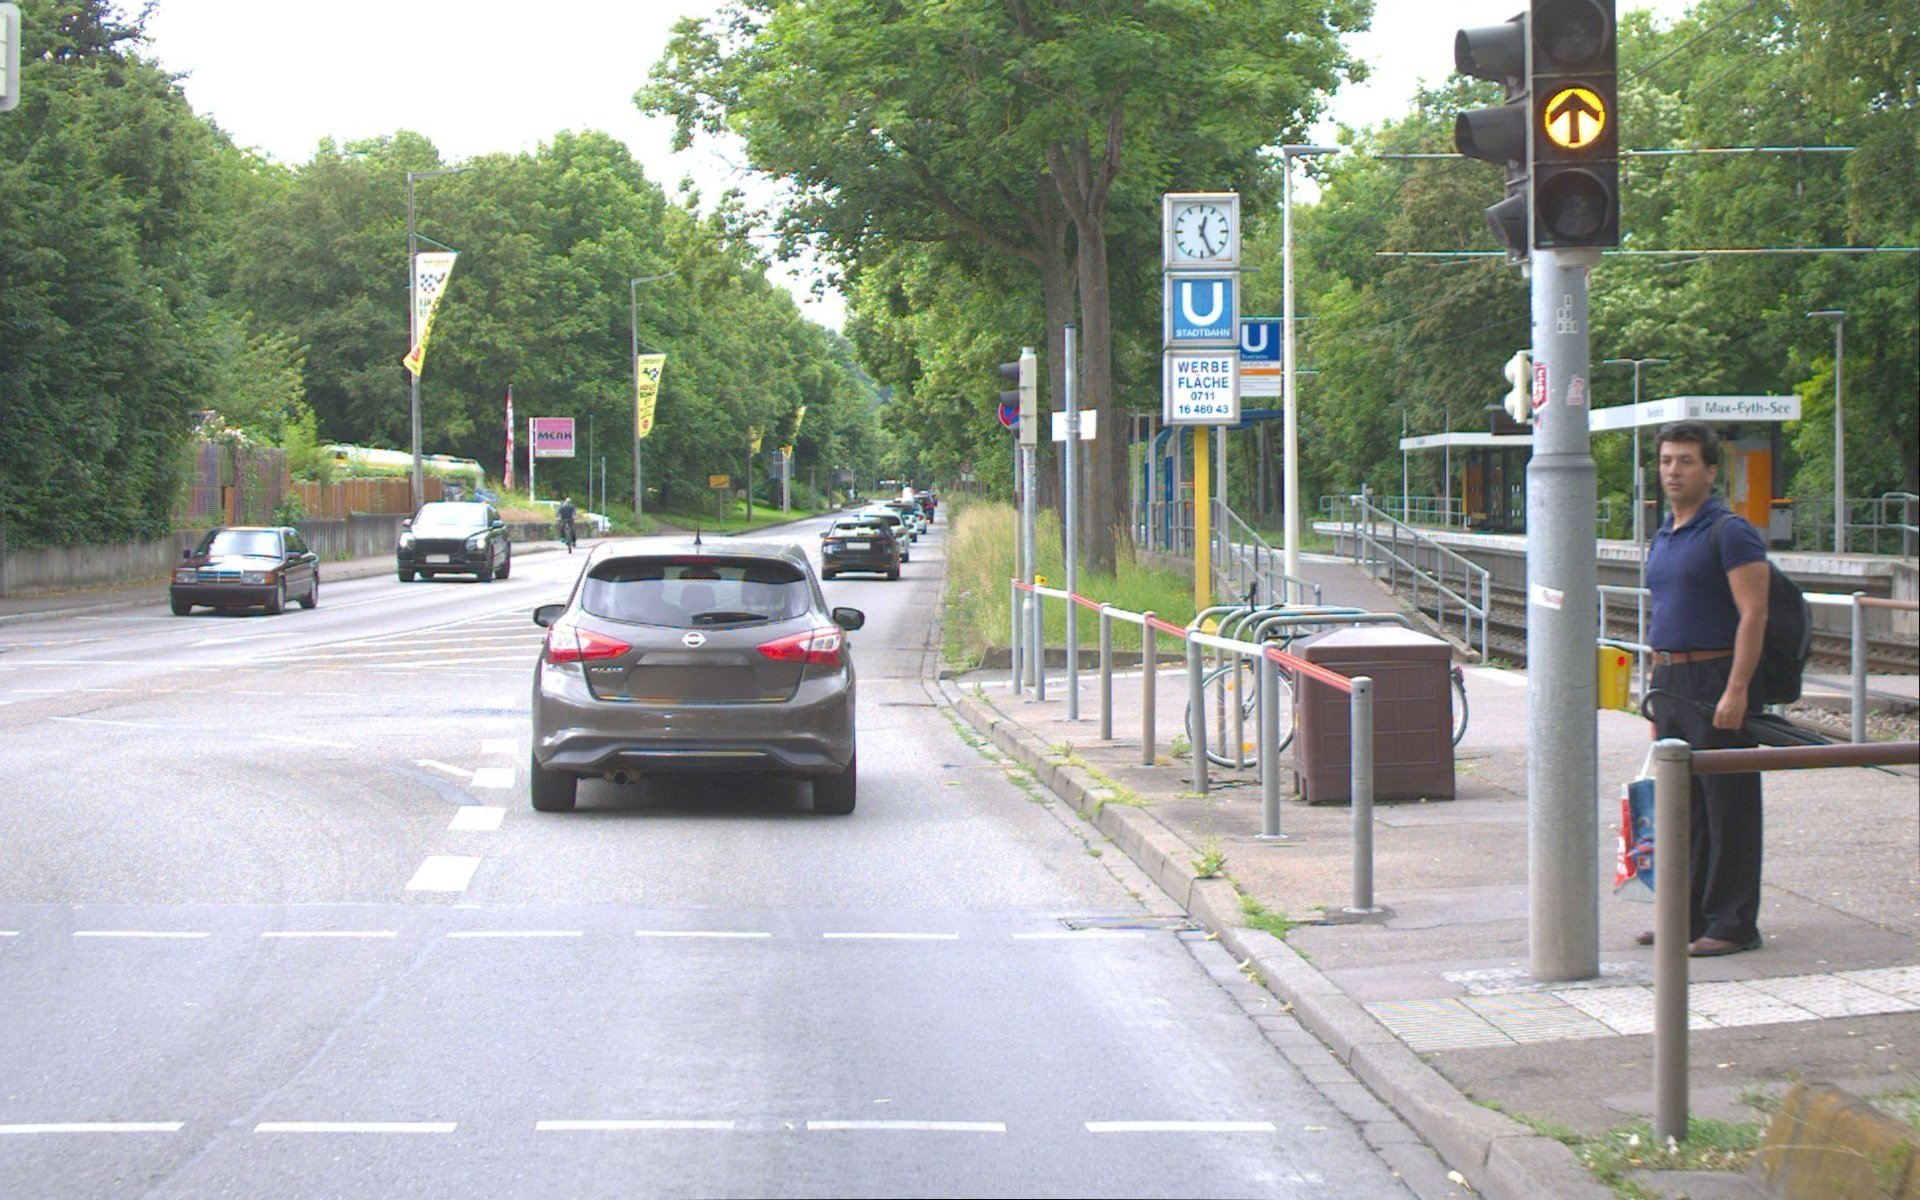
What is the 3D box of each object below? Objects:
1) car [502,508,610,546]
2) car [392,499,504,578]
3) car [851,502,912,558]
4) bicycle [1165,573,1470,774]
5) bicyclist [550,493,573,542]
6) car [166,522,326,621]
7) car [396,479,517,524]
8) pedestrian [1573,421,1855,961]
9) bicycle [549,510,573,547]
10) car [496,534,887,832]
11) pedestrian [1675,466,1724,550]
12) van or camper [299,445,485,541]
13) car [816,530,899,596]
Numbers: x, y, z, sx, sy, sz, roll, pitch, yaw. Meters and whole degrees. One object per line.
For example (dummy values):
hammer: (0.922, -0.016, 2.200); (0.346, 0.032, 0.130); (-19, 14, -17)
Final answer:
car: (-17.057, -3.094, 145.386); (4.374, 1.436, 1.962); (2, 1, -2)
car: (-11.302, -1.365, 76.137); (1.902, 1.673, 5.081); (0, 1, -2)
car: (-2.212, -1.970, 97.033); (1.503, 1.523, 3.671); (1, 1, 2)
bicycle: (2.113, 0.427, 20.406); (1.674, 1.086, 0.602); (-3, 1, -4)
bicyclist: (-12.529, -2.594, 108.161); (0.642, 1.529, 0.979); (2, 1, -5)
car: (-11.228, -0.466, 54.315); (1.741, 1.459, 4.343); (2, 1, -2)
car: (-18.316, -3.569, 125.188); (3.987, 1.492, 1.859); (2, 1, 5)
pedestrian: (2.530, 0.293, 11.618); (0.752, 1.731, 0.839); (-2, 1, 5)
bicycle: (-12.557, -2.259, 108.205); (0.642, 1.141, 2.148); (2, 1, -5)
car: (-1.446, 0.396, 19.943); (1.837, 1.523, 3.929); (1, 1, 2)
pedestrian: (13.497, -1.676, 62.777); (0.718, 1.506, 0.724); (2, 1, 3)
van or camper: (-23.940, -4.514, 145.188); (7.141, 3.359, 2.797); (5, 1, 0)
car: (-2.382, -0.880, 80.771); (1.710, 1.470, 3.671); (1, 1, 2)
